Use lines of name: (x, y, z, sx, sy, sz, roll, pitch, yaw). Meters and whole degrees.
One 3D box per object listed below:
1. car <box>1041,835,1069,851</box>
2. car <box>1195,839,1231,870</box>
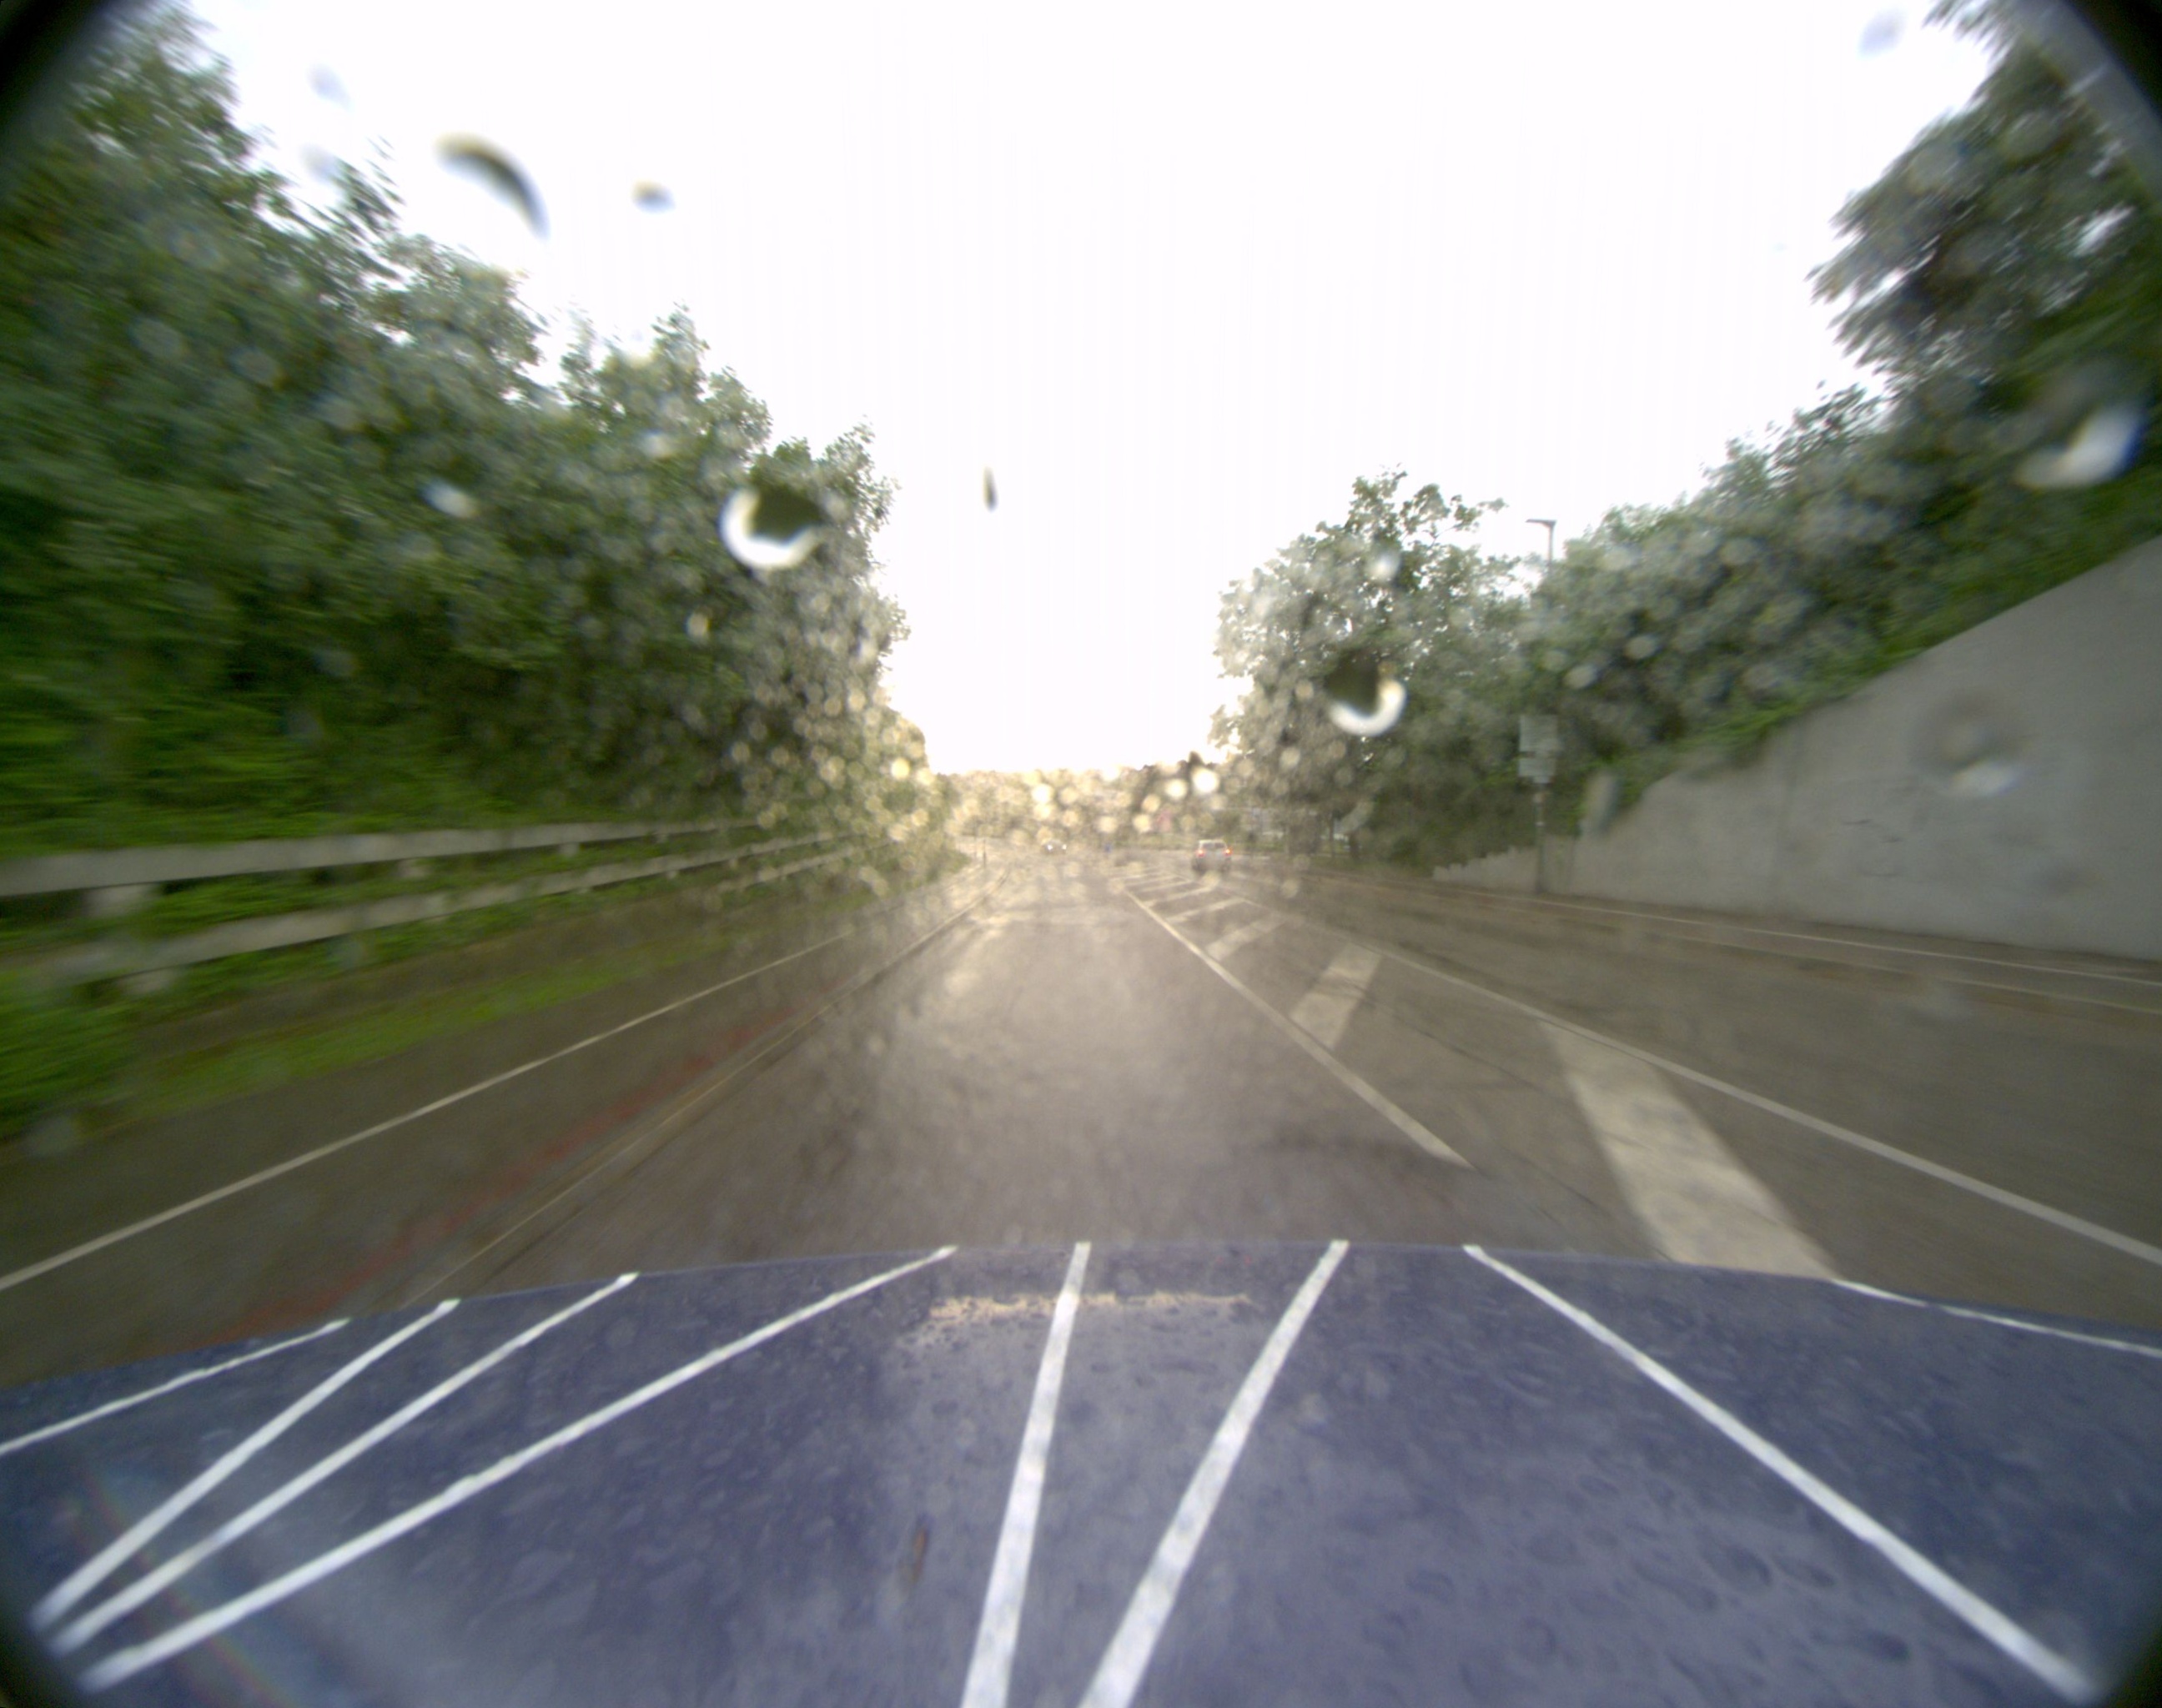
car: (-2.444, -1.042, 70.582, 1.761, 1.387, 3.994, -1, 1, -15)
car: (6.501, -0.016, 37.688, 1.515, 1.440, 3.818, 0, 1, 7)
